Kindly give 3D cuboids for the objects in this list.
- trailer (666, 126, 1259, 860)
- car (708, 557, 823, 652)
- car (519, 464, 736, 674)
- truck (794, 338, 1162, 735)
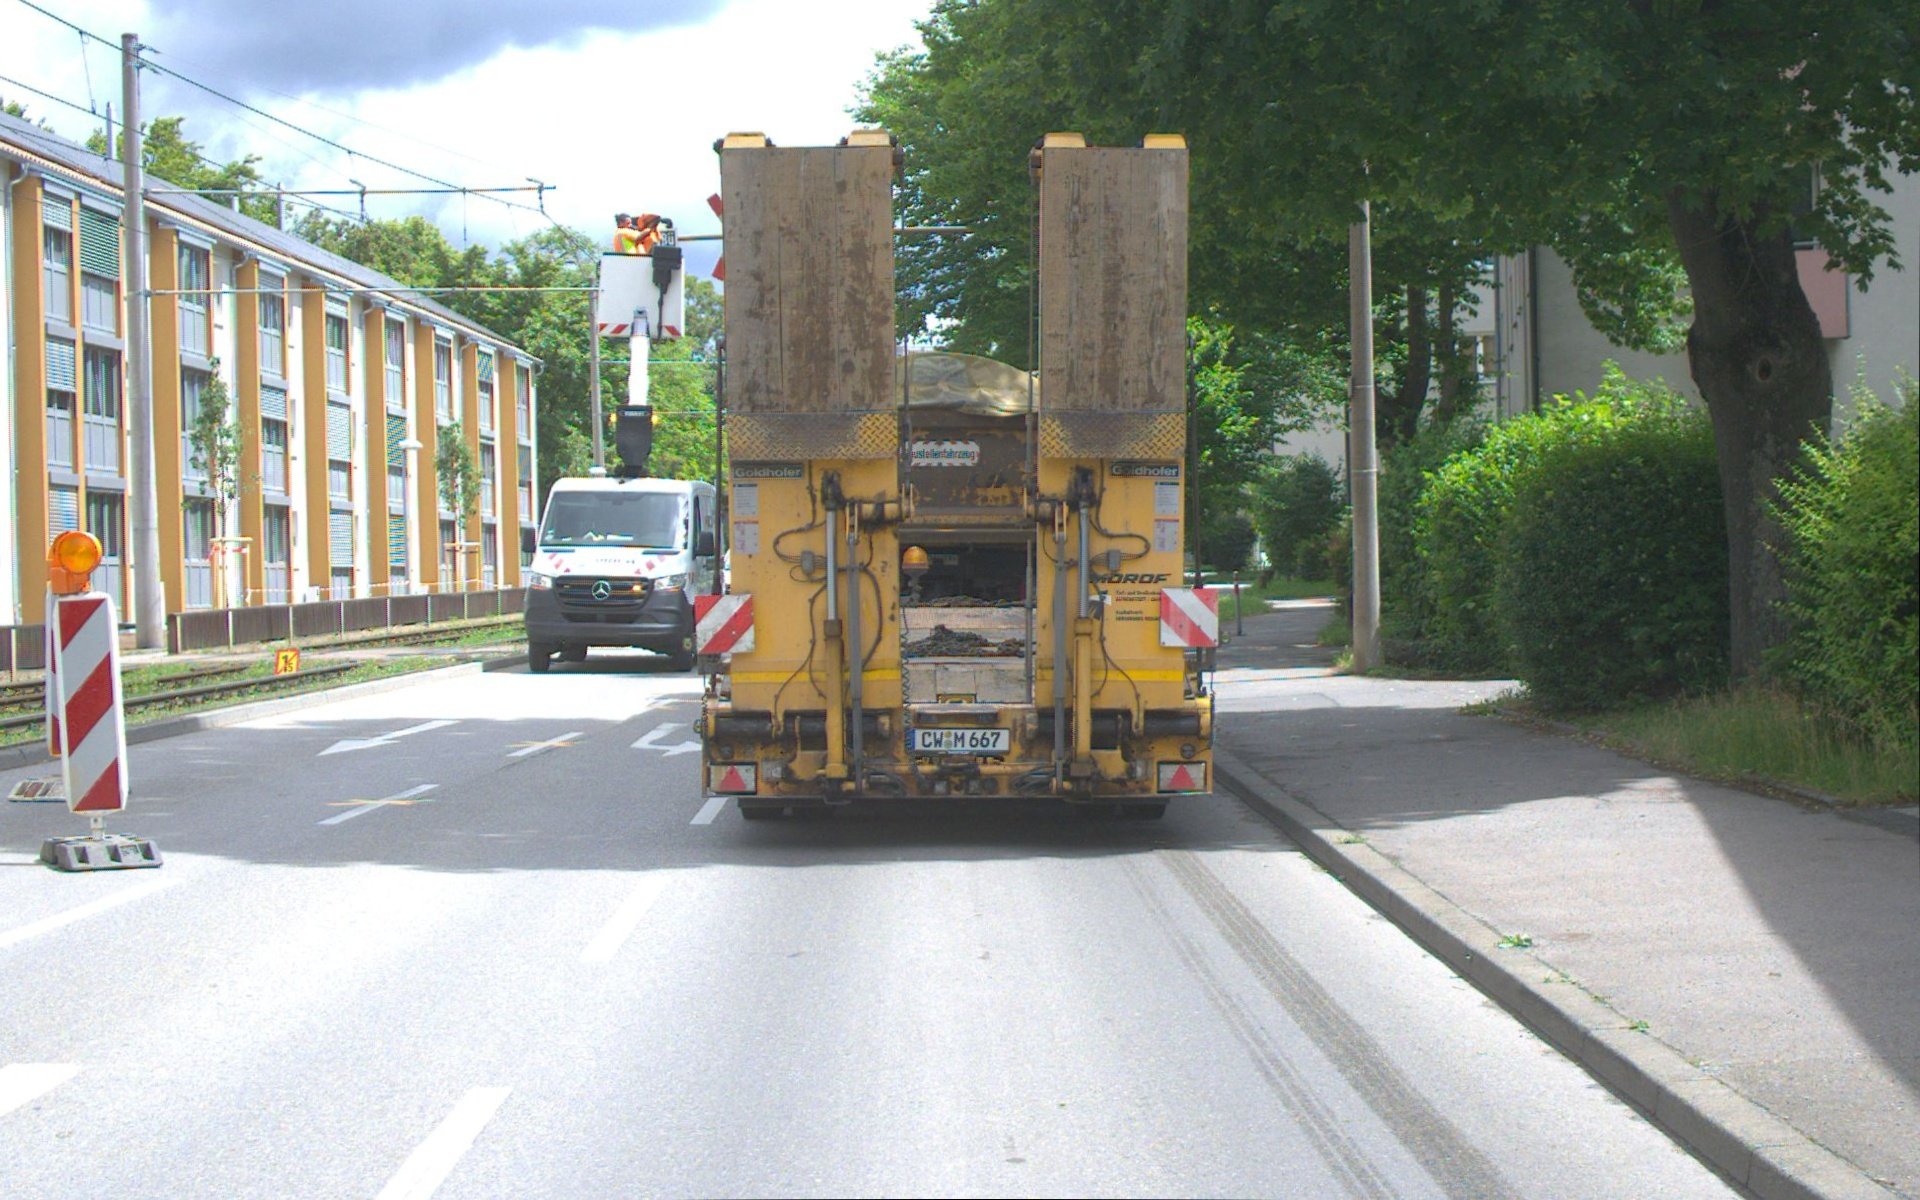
[{"bbox_3d":[0.057,-0.599,22.113,2.822,3.512,11.052,1,1,0],"label":"trailer"},{"bbox_3d":[-3.253,0.048,58.176,1.718,1.547,3.917,0,1,0],"label":"car"},{"bbox_3d":[-4.052,-0.413,42.952,1.993,2.422,6.322,0,1,1],"label":"car"},{"bbox_3d":[0.190,-0.577,31.488,2.917,3.156,7.680,1,1,1],"label":"truck"}]
